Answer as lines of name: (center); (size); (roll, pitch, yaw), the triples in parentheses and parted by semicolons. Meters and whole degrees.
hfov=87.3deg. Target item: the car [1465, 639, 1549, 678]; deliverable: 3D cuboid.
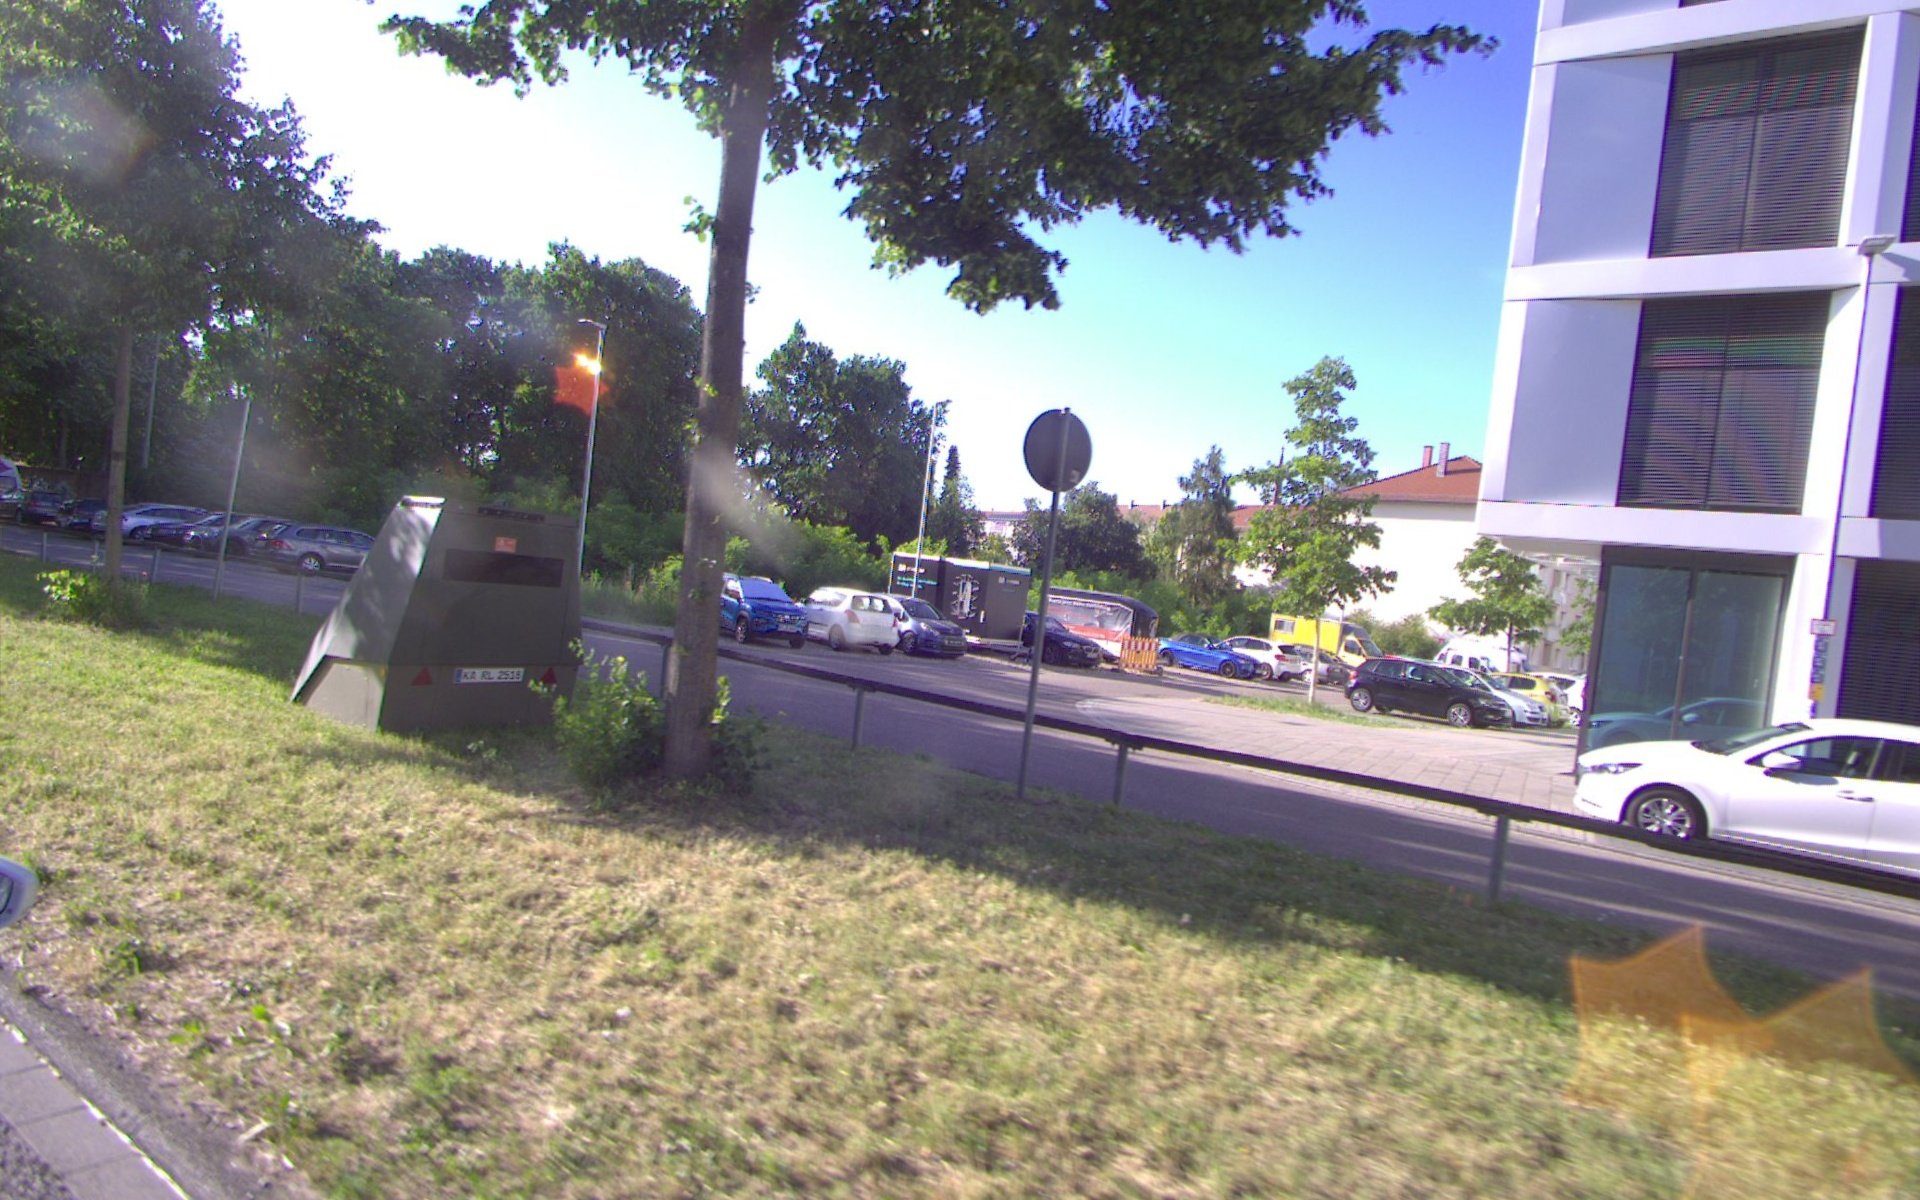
car: (33.467, 3.586, 61.649); (1.987, 1.836, 3.954); (8, -2, -41)

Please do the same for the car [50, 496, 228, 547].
car: (-30.280, -2.877, 37.242); (1.967, 1.425, 4.717); (7, 3, 32)

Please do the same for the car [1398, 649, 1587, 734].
car: (14.359, 2.449, 27.264); (1.987, 1.703, 3.953); (8, -2, -42)

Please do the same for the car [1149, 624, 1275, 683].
car: (9.469, 1.998, 38.057); (1.820, 1.492, 4.221); (7, 1, -42)

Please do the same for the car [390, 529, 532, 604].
car: (-12.421, -0.811, 25.107); (1.441, 1.569, 2.761); (6, 1, 41)

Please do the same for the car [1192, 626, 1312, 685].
car: (11.564, 2.180, 39.987); (1.987, 1.637, 3.951); (8, 0, -42)

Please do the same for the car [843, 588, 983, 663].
car: (-1.349, 0.657, 27.450); (1.711, 1.558, 3.908); (8, -2, -39)

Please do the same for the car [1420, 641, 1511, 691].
car: (28.542, 3.700, 56.855); (1.988, 2.243, 3.952); (8, -1, -43)

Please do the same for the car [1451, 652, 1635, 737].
car: (16.380, 2.637, 28.392); (1.987, 1.792, 3.953); (8, -2, -42)

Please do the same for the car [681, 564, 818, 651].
car: (-5.099, 0.135, 24.030); (1.585, 1.566, 3.777); (5, 2, -38)

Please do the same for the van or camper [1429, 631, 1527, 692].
van or camper: (30.717, 3.622, 59.759); (1.987, 2.954, 4.510); (8, -1, -42)

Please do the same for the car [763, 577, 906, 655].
car: (-3.310, 0.382, 26.024); (1.739, 1.554, 3.839); (8, -2, -39)

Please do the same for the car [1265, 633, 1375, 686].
car: (15.827, 2.597, 44.316); (1.987, 1.749, 3.950); (6, 0, -44)

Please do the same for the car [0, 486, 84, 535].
car: (-39.280, -3.837, 42.705); (3.934, 1.592, 1.997); (6, -1, 32)

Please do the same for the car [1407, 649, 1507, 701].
car: (25.161, 3.783, 51.032); (1.988, 2.037, 3.952); (8, -2, -43)

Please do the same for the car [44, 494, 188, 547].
car: (-33.744, -3.150, 40.343); (1.734, 1.523, 3.996); (7, 0, 26)

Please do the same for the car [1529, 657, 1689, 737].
car: (21.516, 3.199, 33.449); (1.987, 2.037, 3.953); (8, -2, -42)

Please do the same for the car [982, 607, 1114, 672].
car: (2.664, 1.184, 31.198); (1.774, 1.513, 3.839); (8, -2, -39)

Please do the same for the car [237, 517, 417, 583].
car: (-18.463, -1.430, 29.503); (1.688, 1.487, 4.080); (7, 1, 33)

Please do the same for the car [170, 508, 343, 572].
car: (-22.743, -1.909, 32.699); (1.752, 1.517, 4.196); (7, 1, 29)

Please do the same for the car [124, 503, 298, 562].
car: (-25.452, -2.259, 34.358); (1.874, 1.498, 4.332); (8, 3, 28)

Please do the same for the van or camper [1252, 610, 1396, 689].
van or camper: (16.954, 2.273, 47.128); (5.775, 2.926, 1.990); (6, -1, 44)

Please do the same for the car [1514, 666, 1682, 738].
car: (19.909, 3.179, 31.508); (1.987, 1.614, 3.953); (8, -2, -42)

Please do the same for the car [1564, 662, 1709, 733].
car: (24.986, 3.585, 37.265); (1.987, 2.037, 3.953); (8, -2, -42)

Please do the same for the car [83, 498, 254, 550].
car: (-27.883, -2.649, 35.583); (1.968, 1.431, 4.375); (7, 4, 34)

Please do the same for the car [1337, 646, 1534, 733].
car: (11.952, 2.232, 25.452); (1.987, 1.592, 3.953); (8, -2, -42)

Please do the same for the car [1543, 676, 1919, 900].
car: (8.467, 1.839, 10.035); (4.332, 1.506, 1.992); (7, 3, 35)

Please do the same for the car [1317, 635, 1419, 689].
car: (19.703, 2.993, 48.688); (1.988, 2.037, 3.952); (8, -2, -43)

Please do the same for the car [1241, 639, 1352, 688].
car: (14.131, 2.656, 42.384); (1.724, 1.368, 3.951); (8, 0, -42)

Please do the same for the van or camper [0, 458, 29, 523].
van or camper: (-44.294, -5.085, 45.330); (4.879, 2.769, 1.994); (7, 3, 29)
